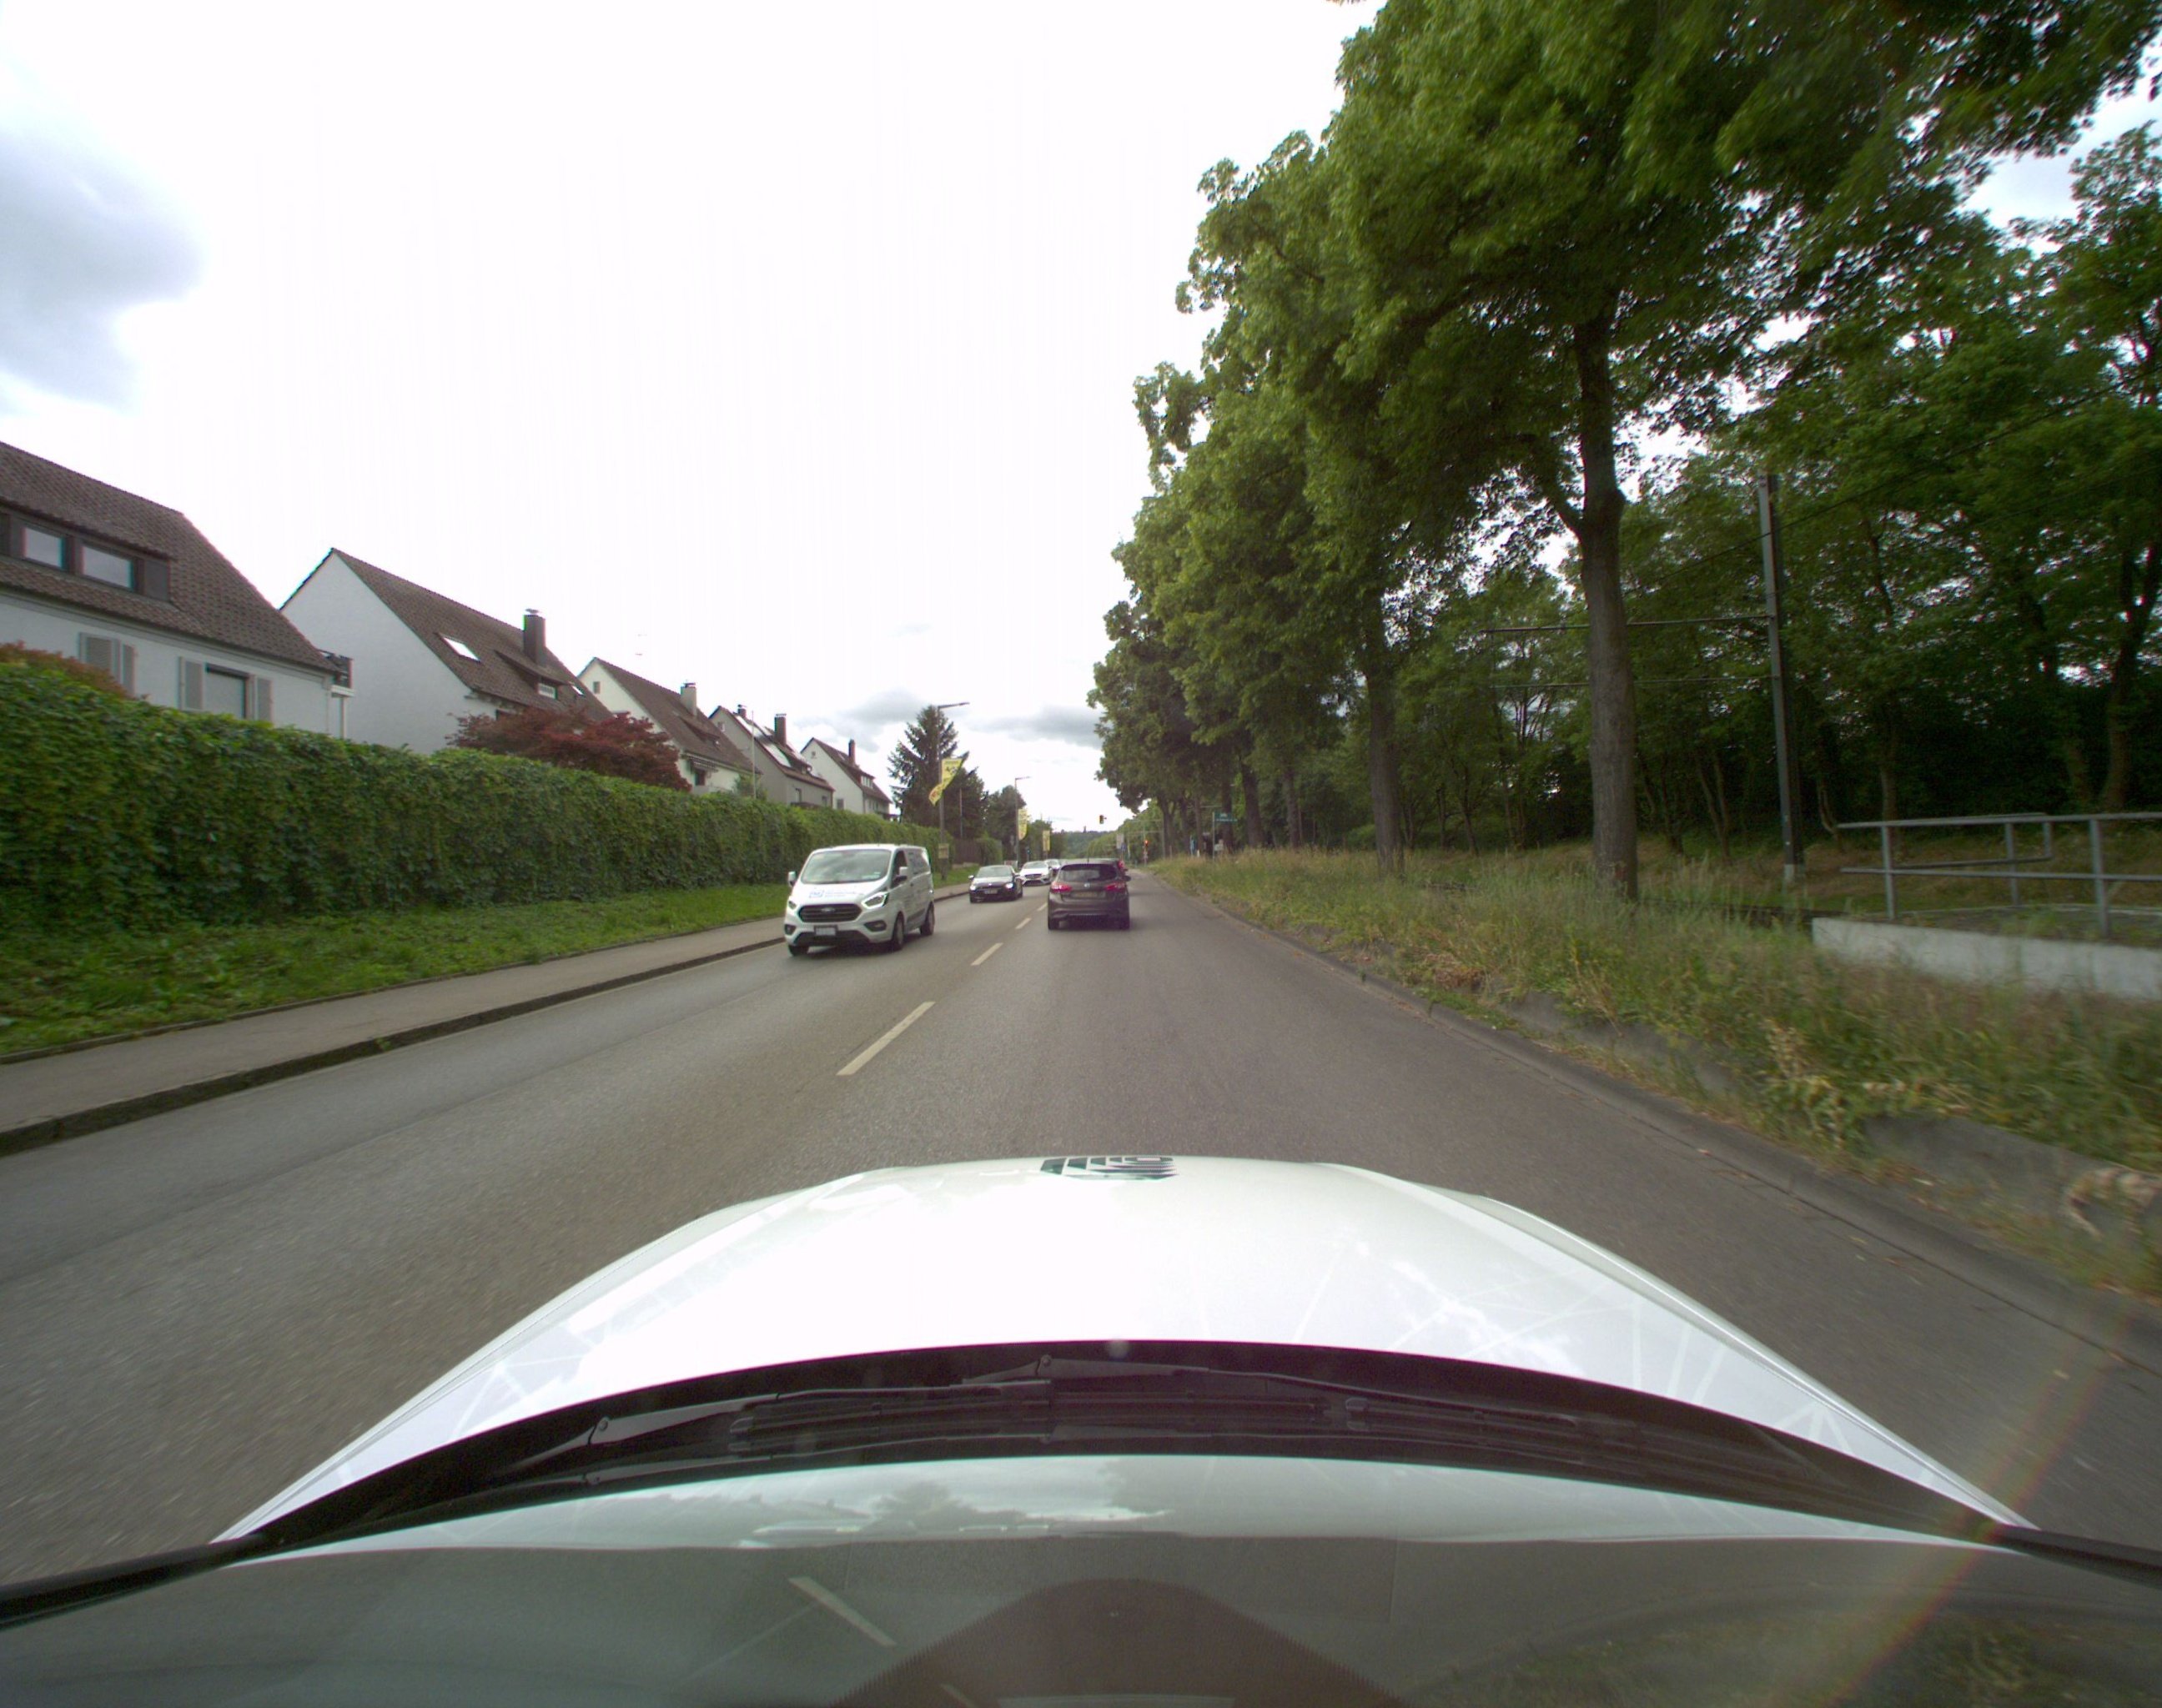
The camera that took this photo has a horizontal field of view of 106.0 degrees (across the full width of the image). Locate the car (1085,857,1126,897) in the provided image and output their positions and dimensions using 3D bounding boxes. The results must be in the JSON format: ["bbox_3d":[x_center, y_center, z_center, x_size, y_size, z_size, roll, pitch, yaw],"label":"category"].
[{"bbox_3d":[1.008,0.880,33.283,1.533,1.478,3.765,-2,0,2],"label":"car"}]

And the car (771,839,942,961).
[{"bbox_3d":[-4.196,0.774,16.127,1.900,1.932,4.910,-3,0,0],"label":"car"}]

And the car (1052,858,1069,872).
[{"bbox_3d":[-2.253,1.219,90.411,1.722,1.464,4.154,-3,0,1],"label":"car"}]

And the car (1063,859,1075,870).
[{"bbox_3d":[-1.881,1.637,128.819,1.807,1.524,4.176,-4,0,0],"label":"car"}]

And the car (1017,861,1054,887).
[{"bbox_3d":[-2.694,1.154,49.120,1.879,1.383,4.491,-3,0,1],"label":"car"}]

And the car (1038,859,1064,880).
[{"bbox_3d":[-2.411,1.186,65.464,1.745,1.518,4.001,-4,0,1],"label":"car"}]

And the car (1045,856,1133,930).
[{"bbox_3d":[0.234,0.813,19.090,1.828,1.519,4.484,0,0,2],"label":"car"}]

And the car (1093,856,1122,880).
[{"bbox_3d":[1.749,0.894,53.625,1.785,1.397,4.001,-2,0,2],"label":"car"}]

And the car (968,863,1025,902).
[{"bbox_3d":[-3.282,1.072,32.357,1.645,1.348,4.479,-3,0,1],"label":"car"}]
